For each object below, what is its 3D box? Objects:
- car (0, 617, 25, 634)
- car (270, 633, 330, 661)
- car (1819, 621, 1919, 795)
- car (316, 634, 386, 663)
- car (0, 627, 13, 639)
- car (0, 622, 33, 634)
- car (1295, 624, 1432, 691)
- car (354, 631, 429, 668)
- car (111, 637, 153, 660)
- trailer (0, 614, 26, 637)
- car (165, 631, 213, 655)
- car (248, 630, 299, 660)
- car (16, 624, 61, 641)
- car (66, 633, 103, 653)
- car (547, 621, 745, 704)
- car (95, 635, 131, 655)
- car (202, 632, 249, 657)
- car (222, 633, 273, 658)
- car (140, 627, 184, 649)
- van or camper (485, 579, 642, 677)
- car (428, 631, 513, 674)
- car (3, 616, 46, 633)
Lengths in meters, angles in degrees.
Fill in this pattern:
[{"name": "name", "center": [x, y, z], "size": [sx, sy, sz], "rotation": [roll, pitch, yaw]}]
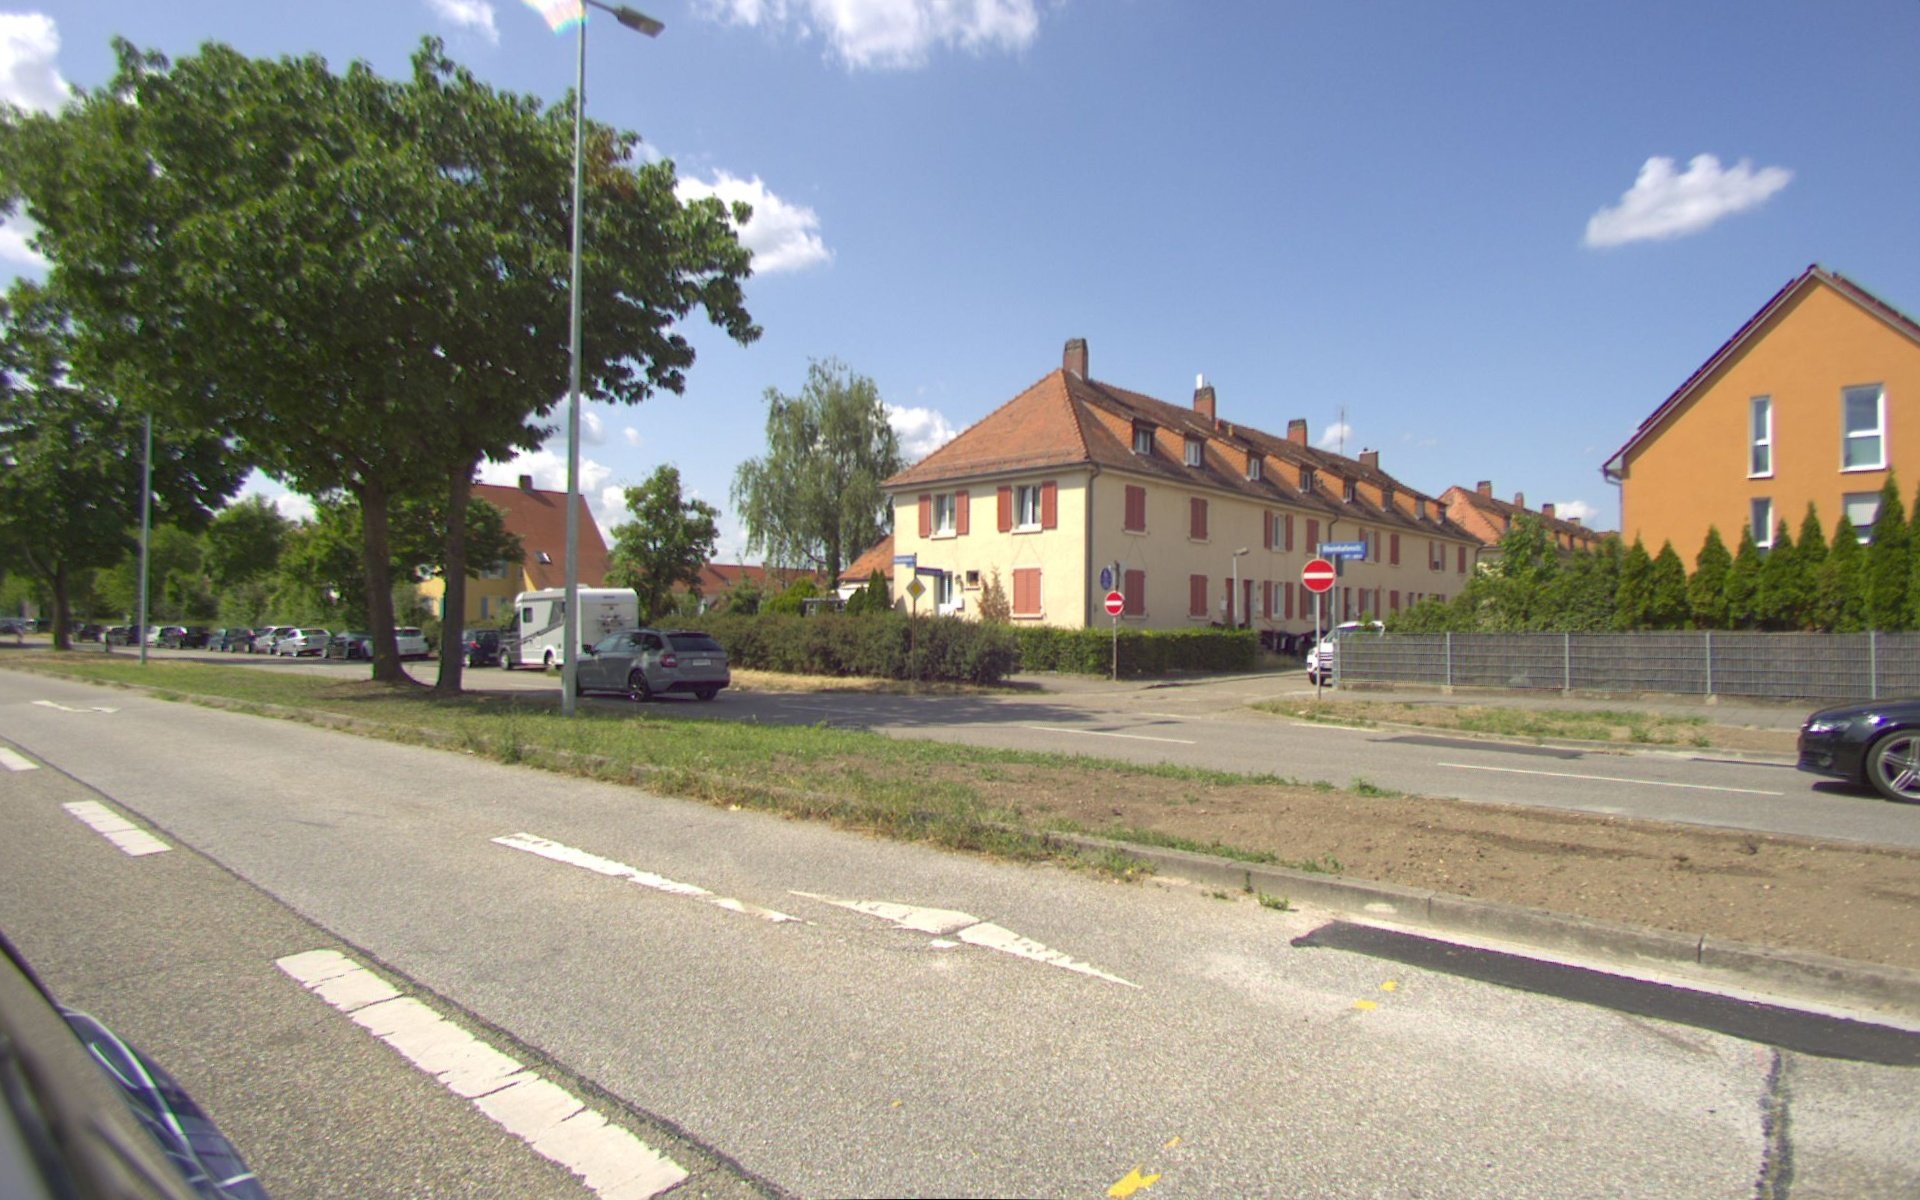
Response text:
[{"name": "car", "center": [-122.455, 3.295, 129.689], "size": [1.778, 2.029, 4.003], "rotation": [-1, 0, -3]}, {"name": "car", "center": [-34.815, 2.449, 53.331], "size": [4.529, 1.380, 1.495], "rotation": [-2, 0, 42]}, {"name": "car", "center": [9.849, 0.920, 8.019], "size": [4.575, 1.449, 1.752], "rotation": [-1, -3, 43]}, {"name": "car", "center": [-29.620, 2.332, 49.181], "size": [4.582, 1.316, 1.619], "rotation": [-2, 0, 42]}, {"name": "car", "center": [-126.507, 4.358, 132.182], "size": [1.799, 1.521, 3.947], "rotation": [-1, 1, 40]}, {"name": "car", "center": [-120.004, 3.584, 128.216], "size": [1.550, 1.408, 4.003], "rotation": [-1, 0, -3]}, {"name": "car", "center": [10.852, 1.468, 27.103], "size": [3.940, 1.630, 2.001], "rotation": [1, -1, -44]}, {"name": "car", "center": [-25.816, 2.203, 45.906], "size": [4.122, 1.497, 1.671], "rotation": [0, 1, 42]}, {"name": "car", "center": [-63.834, 3.714, 78.022], "size": [4.310, 1.624, 1.644], "rotation": [-1, 0, 39]}, {"name": "trailer", "center": [-134.329, 3.635, 141.622], "size": [2.781, 3.132, 5.768], "rotation": [-2, 0, -13]}, {"name": "car", "center": [-52.279, 2.910, 68.580], "size": [4.099, 1.492, 1.644], "rotation": [-2, 0, 39]}, {"name": "car", "center": [-38.627, 2.502, 56.910], "size": [3.739, 1.569, 1.388], "rotation": [-1, 0, 40]}, {"name": "car", "center": [-107.827, 3.794, 118.436], "size": [1.778, 1.874, 4.003], "rotation": [-1, -1, -3]}, {"name": "car", "center": [-76.860, 3.773, 88.810], "size": [3.995, 1.563, 1.750], "rotation": [-1, 0, 39]}, {"name": "car", "center": [-6.651, 1.270, 21.173], "size": [4.650, 1.519, 1.714], "rotation": [0, -5, 41]}, {"name": "car", "center": [-68.788, 3.657, 82.181], "size": [3.531, 1.472, 1.578], "rotation": [-1, 0, 39]}, {"name": "car", "center": [-45.917, 2.749, 63.242], "size": [3.474, 1.405, 1.547], "rotation": [-1, 1, 40]}, {"name": "car", "center": [-42.100, 2.663, 59.750], "size": [4.353, 1.405, 1.388], "rotation": [-1, 0, 40]}, {"name": "car", "center": [-57.771, 2.729, 73.246], "size": [3.842, 1.462, 1.644], "rotation": [-1, 0, 39]}, {"name": "van or camper", "center": [-14.152, 0.982, 35.773], "size": [7.321, 3.135, 2.234], "rotation": [-2, -1, 44]}, {"name": "car", "center": [-19.455, 2.043, 40.181], "size": [3.991, 1.497, 1.619], "rotation": [0, 1, 42]}, {"name": "car", "center": [-115.277, 2.996, 124.782], "size": [1.778, 2.029, 4.003], "rotation": [-1, 0, -3]}]
